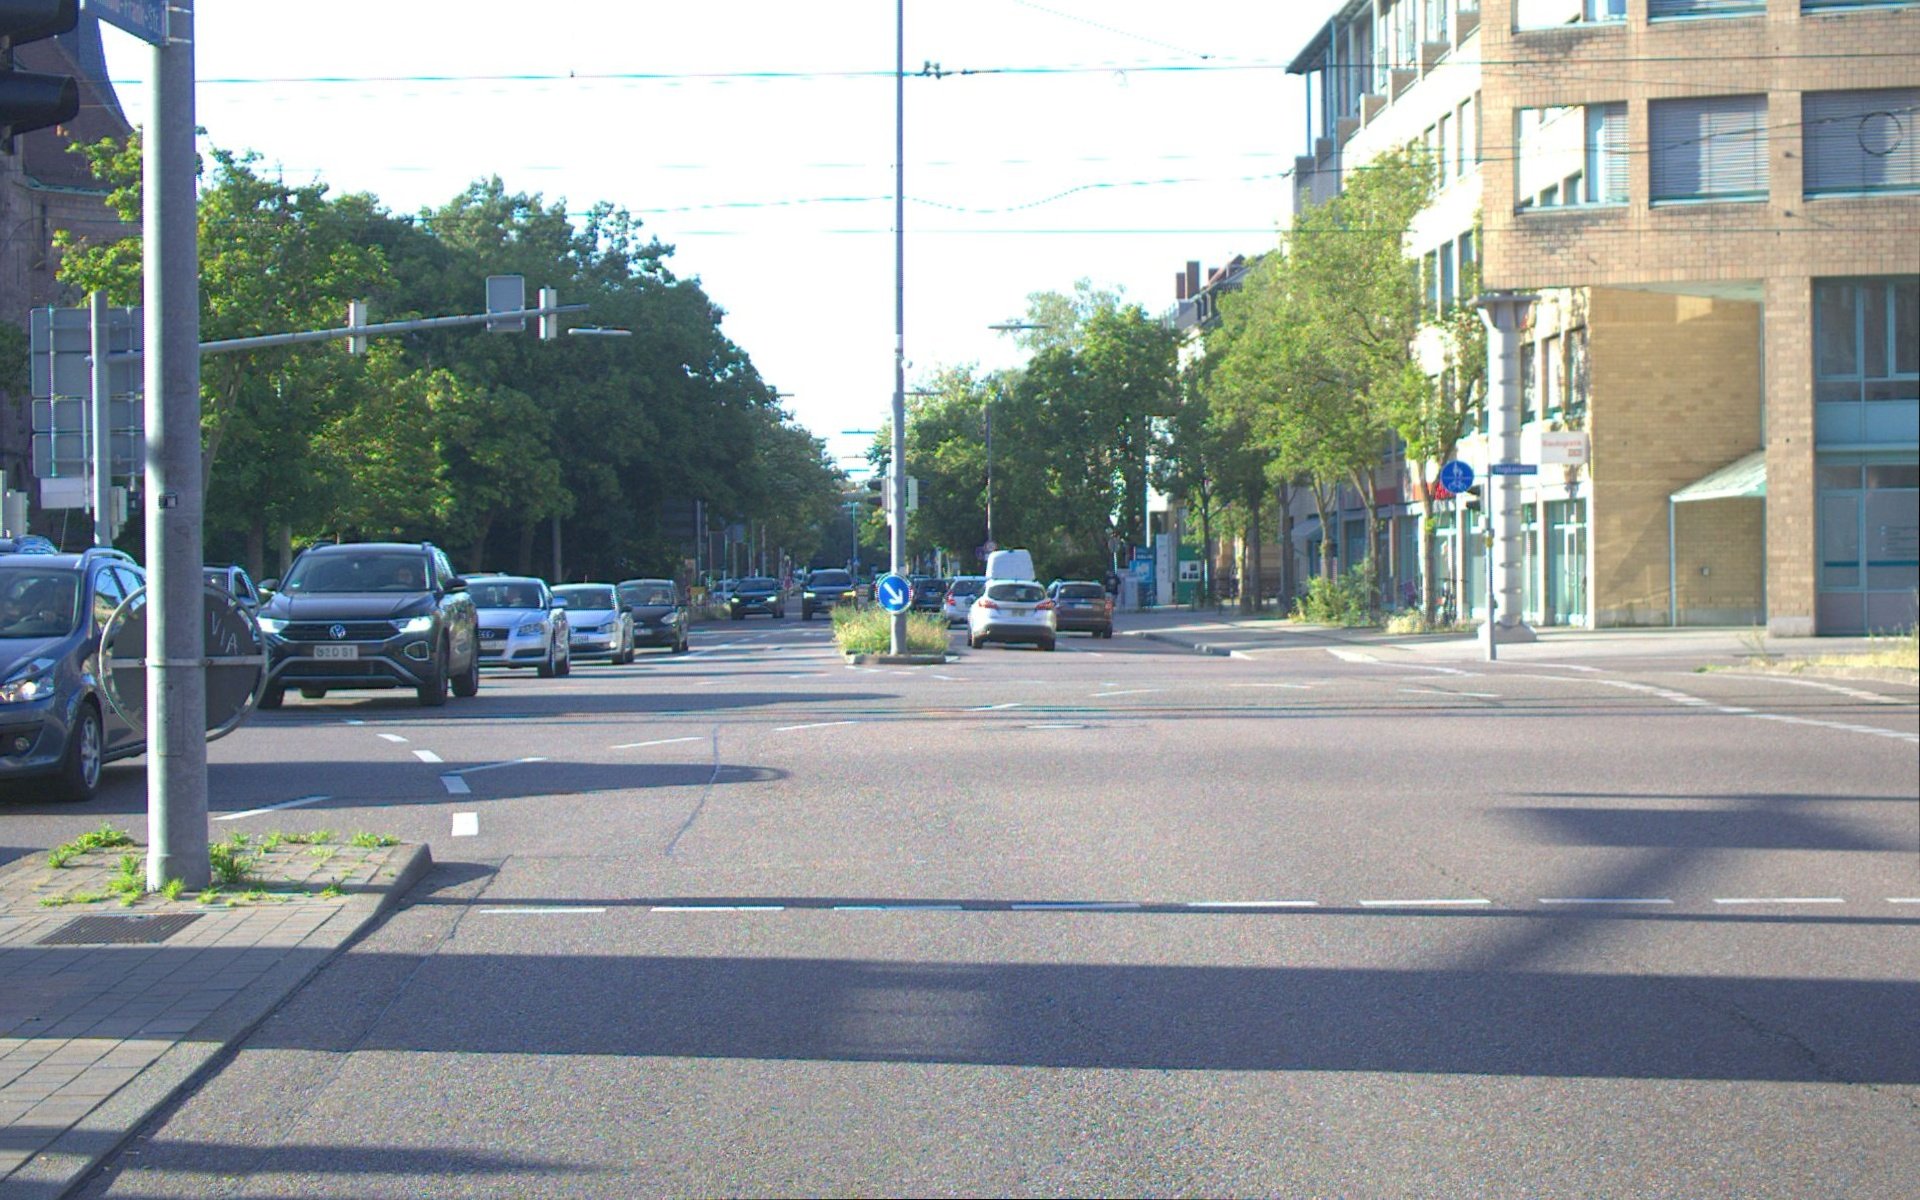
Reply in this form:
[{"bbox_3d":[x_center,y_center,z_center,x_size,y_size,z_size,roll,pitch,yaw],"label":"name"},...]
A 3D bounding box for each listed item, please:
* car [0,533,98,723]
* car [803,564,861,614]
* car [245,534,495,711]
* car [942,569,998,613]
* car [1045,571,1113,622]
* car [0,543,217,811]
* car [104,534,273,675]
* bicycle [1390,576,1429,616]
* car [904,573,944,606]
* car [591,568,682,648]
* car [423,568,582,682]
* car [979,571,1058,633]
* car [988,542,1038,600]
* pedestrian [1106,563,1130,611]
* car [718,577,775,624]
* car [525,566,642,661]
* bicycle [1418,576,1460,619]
[{"bbox_3d":[-9.147,0.229,31.119,1.719,1.623,4.103,-2,1,-2],"label":"car"},{"bbox_3d":[-4.500,-0.377,121.543,1.993,1.718,5.031,-1,0,-2],"label":"car"},{"bbox_3d":[-5.639,0.169,33.312,1.675,1.539,4.103,-2,1,0],"label":"car"},{"bbox_3d":[0.279,-0.279,102.192,1.594,1.263,3.266,0,1,-1],"label":"car"},{"bbox_3d":[3.069,-0.097,88.975,1.594,1.263,3.266,0,1,-1],"label":"car"},{"bbox_3d":[-5.837,0.412,21.198,1.592,1.466,3.985,-1,1,0],"label":"car"},{"bbox_3d":[-9.280,0.022,41.494,1.535,1.587,2.809,-2,1,-4],"label":"car"},{"bbox_3d":[11.202,-0.107,85.659,0.646,0.991,2.081,0,0,-2],"label":"bicycle"},{"bbox_3d":[-1.468,-0.432,139.426,1.594,1.263,3.266,0,1,-1],"label":"car"},{"bbox_3d":[-6.734,0.144,71.753,1.578,1.539,3.477,-2,1,-1],"label":"car"},{"bbox_3d":[-6.373,0.317,48.301,1.708,1.420,4.103,-2,1,-1],"label":"car"},{"bbox_3d":[1.231,0.027,73.407,1.594,1.263,3.266,0,1,-1],"label":"car"},{"bbox_3d":[2.240,-1.232,145.560,1.993,2.432,4.000,1,1,-1],"label":"car"},{"bbox_3d":[6.053,-0.503,131.543,0.847,1.797,0.776,0,1,-1],"label":"pedestrian"},{"bbox_3d":[-8.043,0.019,129.764,1.993,1.718,4.593,-1,0,-2],"label":"car"},{"bbox_3d":[-6.641,0.216,60.918,1.675,1.539,3.806,-2,1,-1],"label":"car"},{"bbox_3d":[11.305,-0.061,81.211,0.646,0.991,2.081,0,0,-2],"label":"bicycle"}]
